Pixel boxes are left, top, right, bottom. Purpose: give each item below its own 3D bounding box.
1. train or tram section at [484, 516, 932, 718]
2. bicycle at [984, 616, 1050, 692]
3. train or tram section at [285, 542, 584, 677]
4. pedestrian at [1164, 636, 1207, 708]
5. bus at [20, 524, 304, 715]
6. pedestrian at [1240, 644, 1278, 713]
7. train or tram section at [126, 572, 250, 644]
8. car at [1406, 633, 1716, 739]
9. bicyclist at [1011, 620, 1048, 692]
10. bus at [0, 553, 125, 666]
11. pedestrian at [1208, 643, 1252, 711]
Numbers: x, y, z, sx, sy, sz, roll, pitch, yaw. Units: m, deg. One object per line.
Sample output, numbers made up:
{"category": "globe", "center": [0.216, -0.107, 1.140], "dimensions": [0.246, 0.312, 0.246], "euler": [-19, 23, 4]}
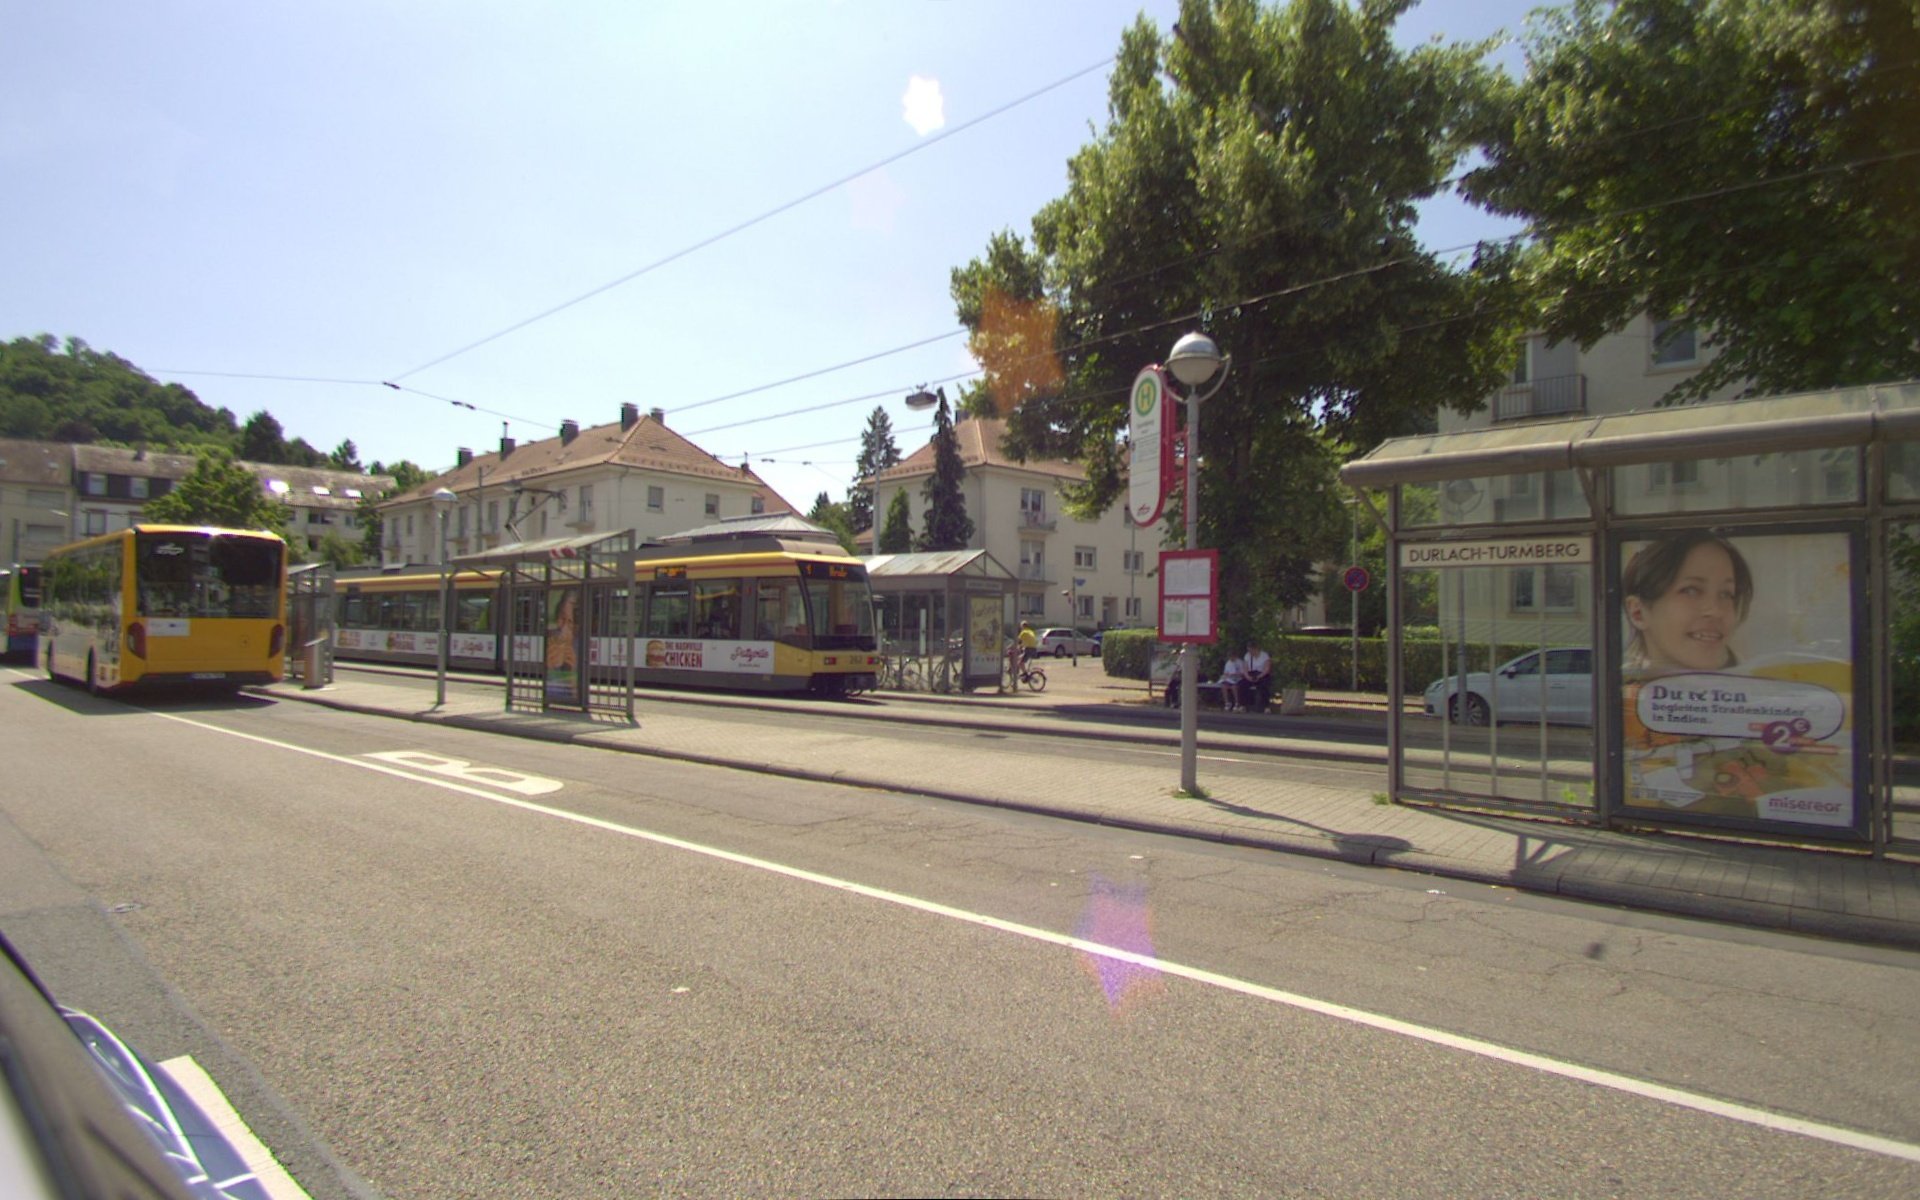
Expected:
{"category": "train or tram section", "center": [-6.785, 0.334, 24.129], "dimensions": [13.987, 3.670, 2.932], "euler": [0, 0, 41]}
{"category": "bicycle", "center": [1.439, 1.349, 25.754], "dimensions": [1.669, 1.827, 0.625], "euler": [1, 1, 41]}
{"category": "train or tram section", "center": [-18.579, 0.291, 34.459], "dimensions": [17.343, 3.670, 2.932], "euler": [0, 0, 41]}
{"category": "pedestrian", "center": [4.146, 1.318, 18.634], "dimensions": [0.540, 1.260, 0.608], "euler": [1, 1, 44]}
{"category": "bus", "center": [-18.107, 0.249, 22.445], "dimensions": [12.193, 3.271, 2.867], "euler": [1, 1, 42]}
{"category": "pedestrian", "center": [5.234, 1.365, 17.733], "dimensions": [0.456, 1.147, 0.505], "euler": [1, 1, 44]}
{"category": "train or tram section", "center": [-42.384, 0.418, 55.315], "dimensions": [12.707, 3.521, 2.932], "euler": [0, 0, 41]}
{"category": "car", "center": [9.344, 1.249, 15.924], "dimensions": [3.998, 1.283, 1.552], "euler": [1, 1, 41]}
{"category": "bicyclist", "center": [1.750, 1.398, 25.459], "dimensions": [0.672, 1.756, 0.628], "euler": [1, 1, 41]}
{"category": "bus", "center": [-32.693, 0.394, 35.813], "dimensions": [12.032, 3.453, 2.878], "euler": [-2, -1, 41]}
{"category": "pedestrian", "center": [4.823, 1.368, 18.095], "dimensions": [0.540, 1.147, 0.608], "euler": [1, 1, 44]}
